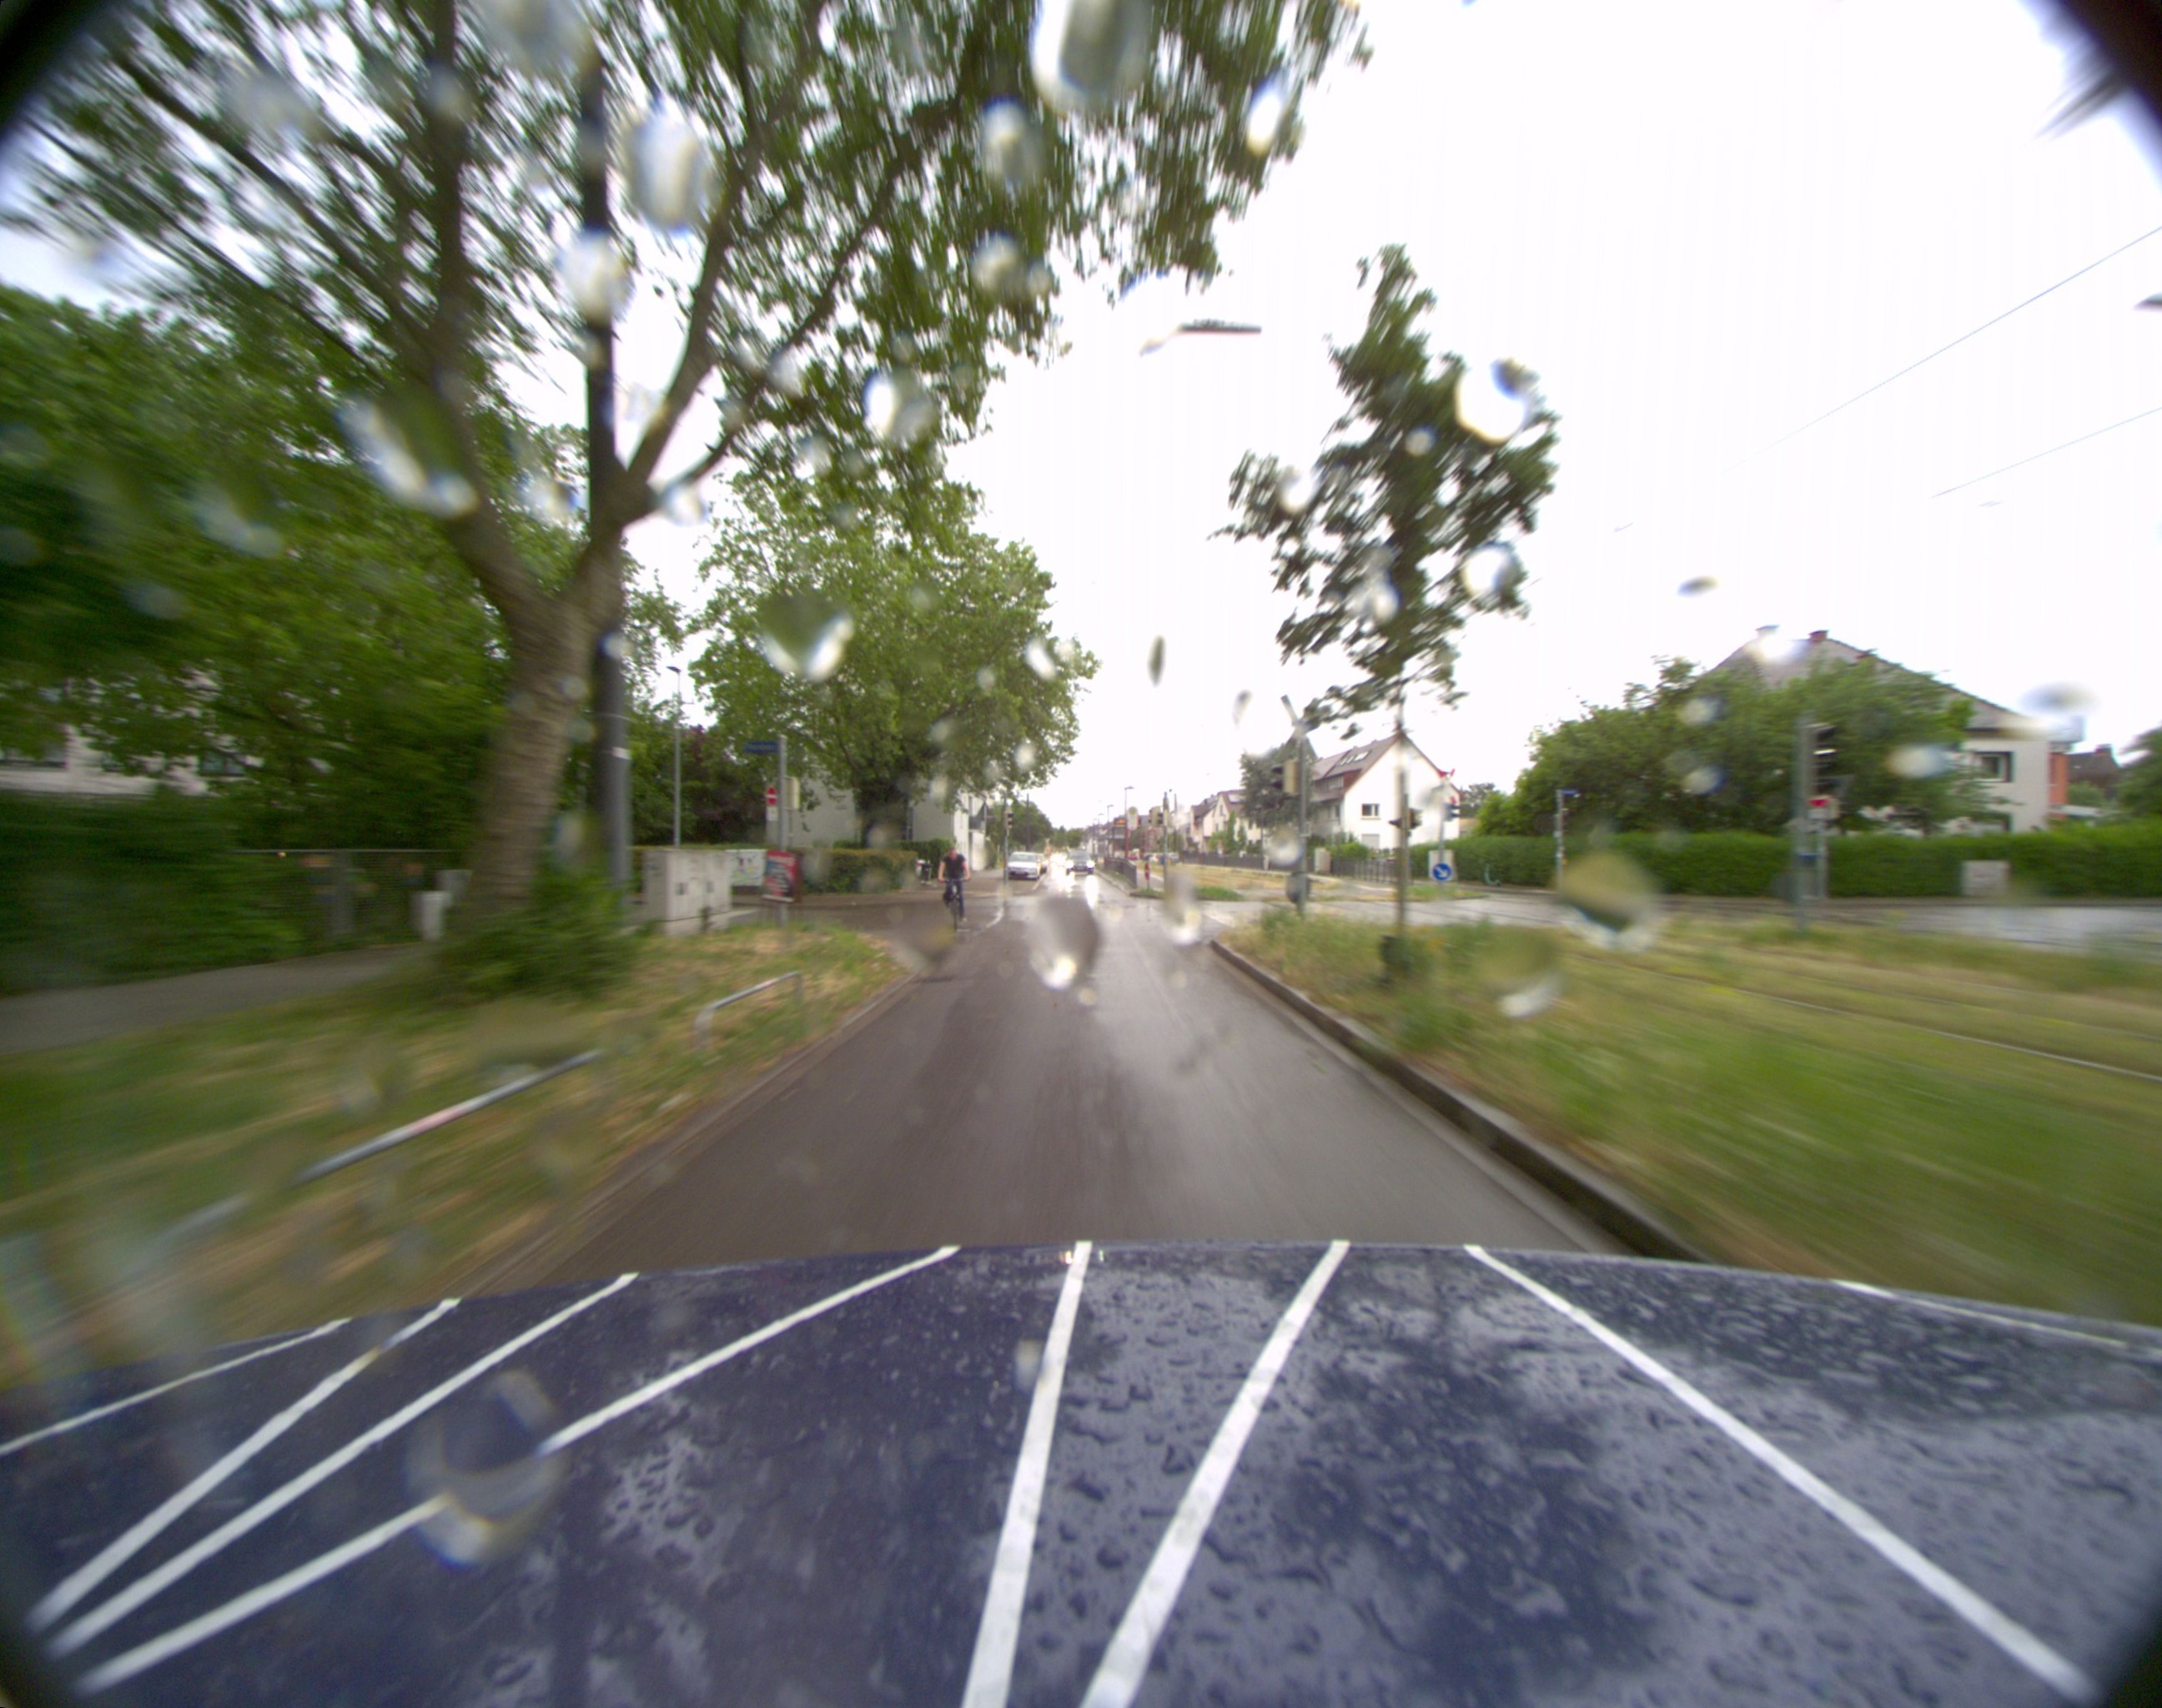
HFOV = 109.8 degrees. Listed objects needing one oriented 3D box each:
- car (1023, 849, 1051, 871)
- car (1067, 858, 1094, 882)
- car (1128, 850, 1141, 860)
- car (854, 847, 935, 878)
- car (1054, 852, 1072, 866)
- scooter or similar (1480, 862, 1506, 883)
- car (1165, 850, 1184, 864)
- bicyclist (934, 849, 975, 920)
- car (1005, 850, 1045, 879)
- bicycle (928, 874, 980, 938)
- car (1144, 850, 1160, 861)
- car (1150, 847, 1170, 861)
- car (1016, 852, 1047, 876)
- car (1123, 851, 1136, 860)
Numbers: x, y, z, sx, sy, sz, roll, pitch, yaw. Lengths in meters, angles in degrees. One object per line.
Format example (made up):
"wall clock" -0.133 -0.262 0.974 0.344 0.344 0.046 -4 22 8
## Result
"car" -3.305 0.427 57.596 1.780 1.477 4.000 2 0 0
"car" -0.026 1.061 52.372 1.780 1.477 4.000 2 0 0
"car" 10.854 0.230 155.122 2.000 2.002 3.997 0 0 -6
"car" -9.352 0.428 38.194 3.578 1.399 1.676 2 1 2
"car" -1.904 0.528 82.099 1.780 1.477 4.000 2 0 0
"scooter or similar" 18.230 0.806 33.641 0.347 0.905 1.258 0 1 -4
"car" 13.836 0.379 112.729 1.999 2.002 3.998 0 0 -5
"bicyclist" -2.646 0.614 15.947 0.675 1.421 0.753 -2 2 -1
"car" -3.009 0.539 41.379 1.780 1.477 4.000 2 0 0
"bicycle" -2.633 1.042 15.990 0.675 1.136 2.444 -1 1 0
"car" 12.477 0.273 134.095 2.000 2.002 3.997 0 0 -6
"car" 11.345 0.045 109.386 2.000 2.002 3.996 0 0 -9
"car" -3.326 0.661 52.025 1.780 1.477 4.000 2 0 0
"car" 10.175 0.285 160.455 2.000 2.002 3.997 0 0 -6
